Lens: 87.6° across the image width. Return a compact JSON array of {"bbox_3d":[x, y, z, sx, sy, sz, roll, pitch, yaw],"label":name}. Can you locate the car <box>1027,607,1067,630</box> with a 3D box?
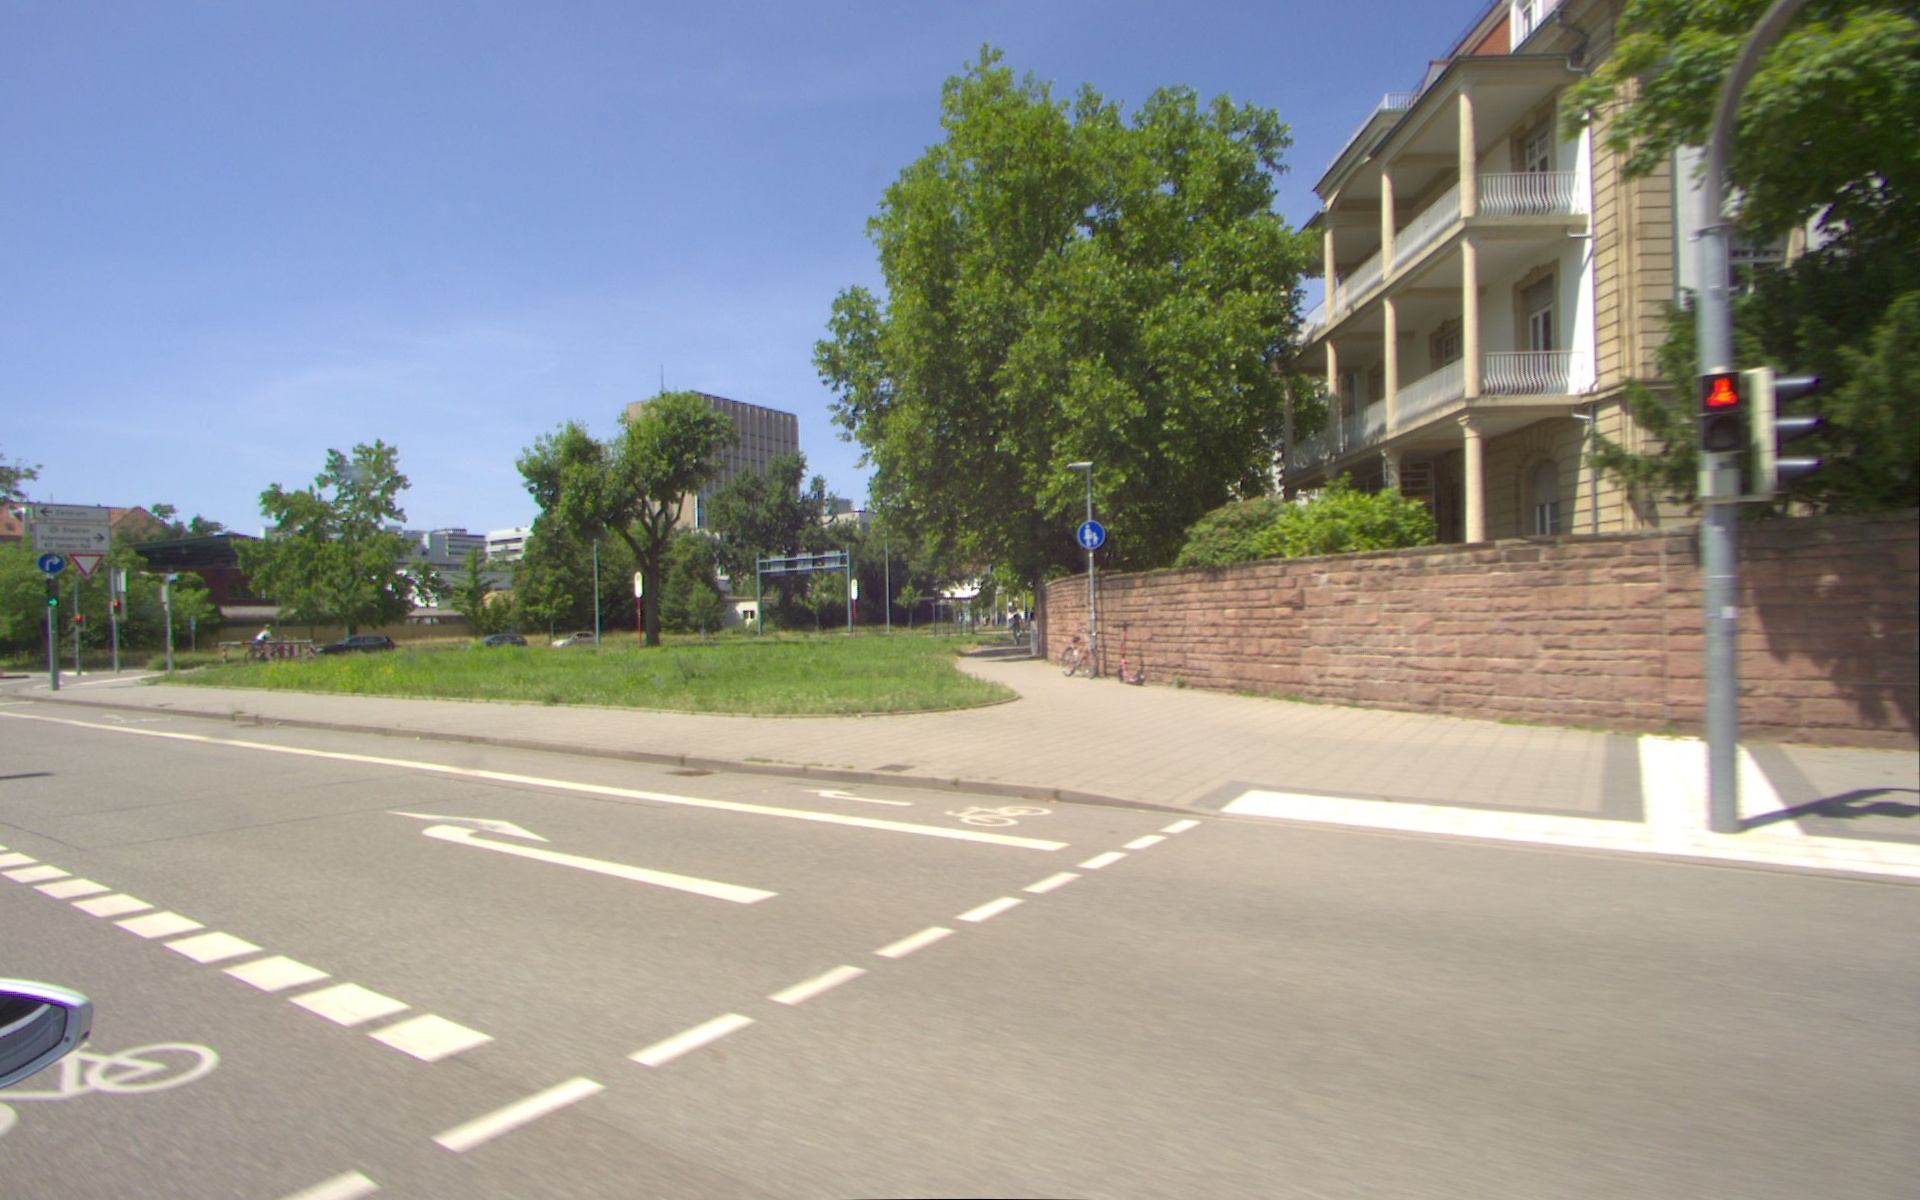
[{"bbox_3d":[8.236,1.797,94.314,1.974,2.039,4.190,-2,-3,35],"label":"car"}]

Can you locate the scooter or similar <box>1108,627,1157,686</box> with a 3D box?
[{"bbox_3d":[3.406,1.110,19.837,0.368,1.122,1.347,0,-2,-17],"label":"scooter or similar"}]

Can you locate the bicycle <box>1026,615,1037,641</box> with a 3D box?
[{"bbox_3d":[3.532,1.391,49.227,0.449,1.197,2.171,0,-3,6],"label":"bicycle"}]

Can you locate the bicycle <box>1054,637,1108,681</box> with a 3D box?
[{"bbox_3d":[2.665,1.298,22.252,0.666,0.939,1.775,0,-3,-11],"label":"bicycle"}]

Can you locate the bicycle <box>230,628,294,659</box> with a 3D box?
[{"bbox_3d":[-28.753,1.796,41.290,0.513,1.252,2.185,-1,-3,26],"label":"bicycle"}]

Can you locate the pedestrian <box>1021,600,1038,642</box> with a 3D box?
[{"bbox_3d":[3.991,1.208,57.200,0.833,2.319,1.075,-1,-2,10],"label":"pedestrian"}]

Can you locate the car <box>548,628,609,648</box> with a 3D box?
[{"bbox_3d":[-27.975,2.811,73.508,1.736,1.457,3.979,-2,-3,33],"label":"car"}]

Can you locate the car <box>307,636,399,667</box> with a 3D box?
[{"bbox_3d":[-36.984,3.120,61.111,1.689,1.607,4.520,-2,-1,40],"label":"car"}]

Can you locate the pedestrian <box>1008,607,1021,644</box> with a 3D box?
[{"bbox_3d":[2.632,1.228,48.376,0.578,1.743,0.527,-1,-2,10],"label":"pedestrian"}]

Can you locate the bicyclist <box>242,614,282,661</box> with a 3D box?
[{"bbox_3d":[-28.769,1.546,41.291,0.697,1.910,1.135,-1,-2,26],"label":"bicyclist"}]
